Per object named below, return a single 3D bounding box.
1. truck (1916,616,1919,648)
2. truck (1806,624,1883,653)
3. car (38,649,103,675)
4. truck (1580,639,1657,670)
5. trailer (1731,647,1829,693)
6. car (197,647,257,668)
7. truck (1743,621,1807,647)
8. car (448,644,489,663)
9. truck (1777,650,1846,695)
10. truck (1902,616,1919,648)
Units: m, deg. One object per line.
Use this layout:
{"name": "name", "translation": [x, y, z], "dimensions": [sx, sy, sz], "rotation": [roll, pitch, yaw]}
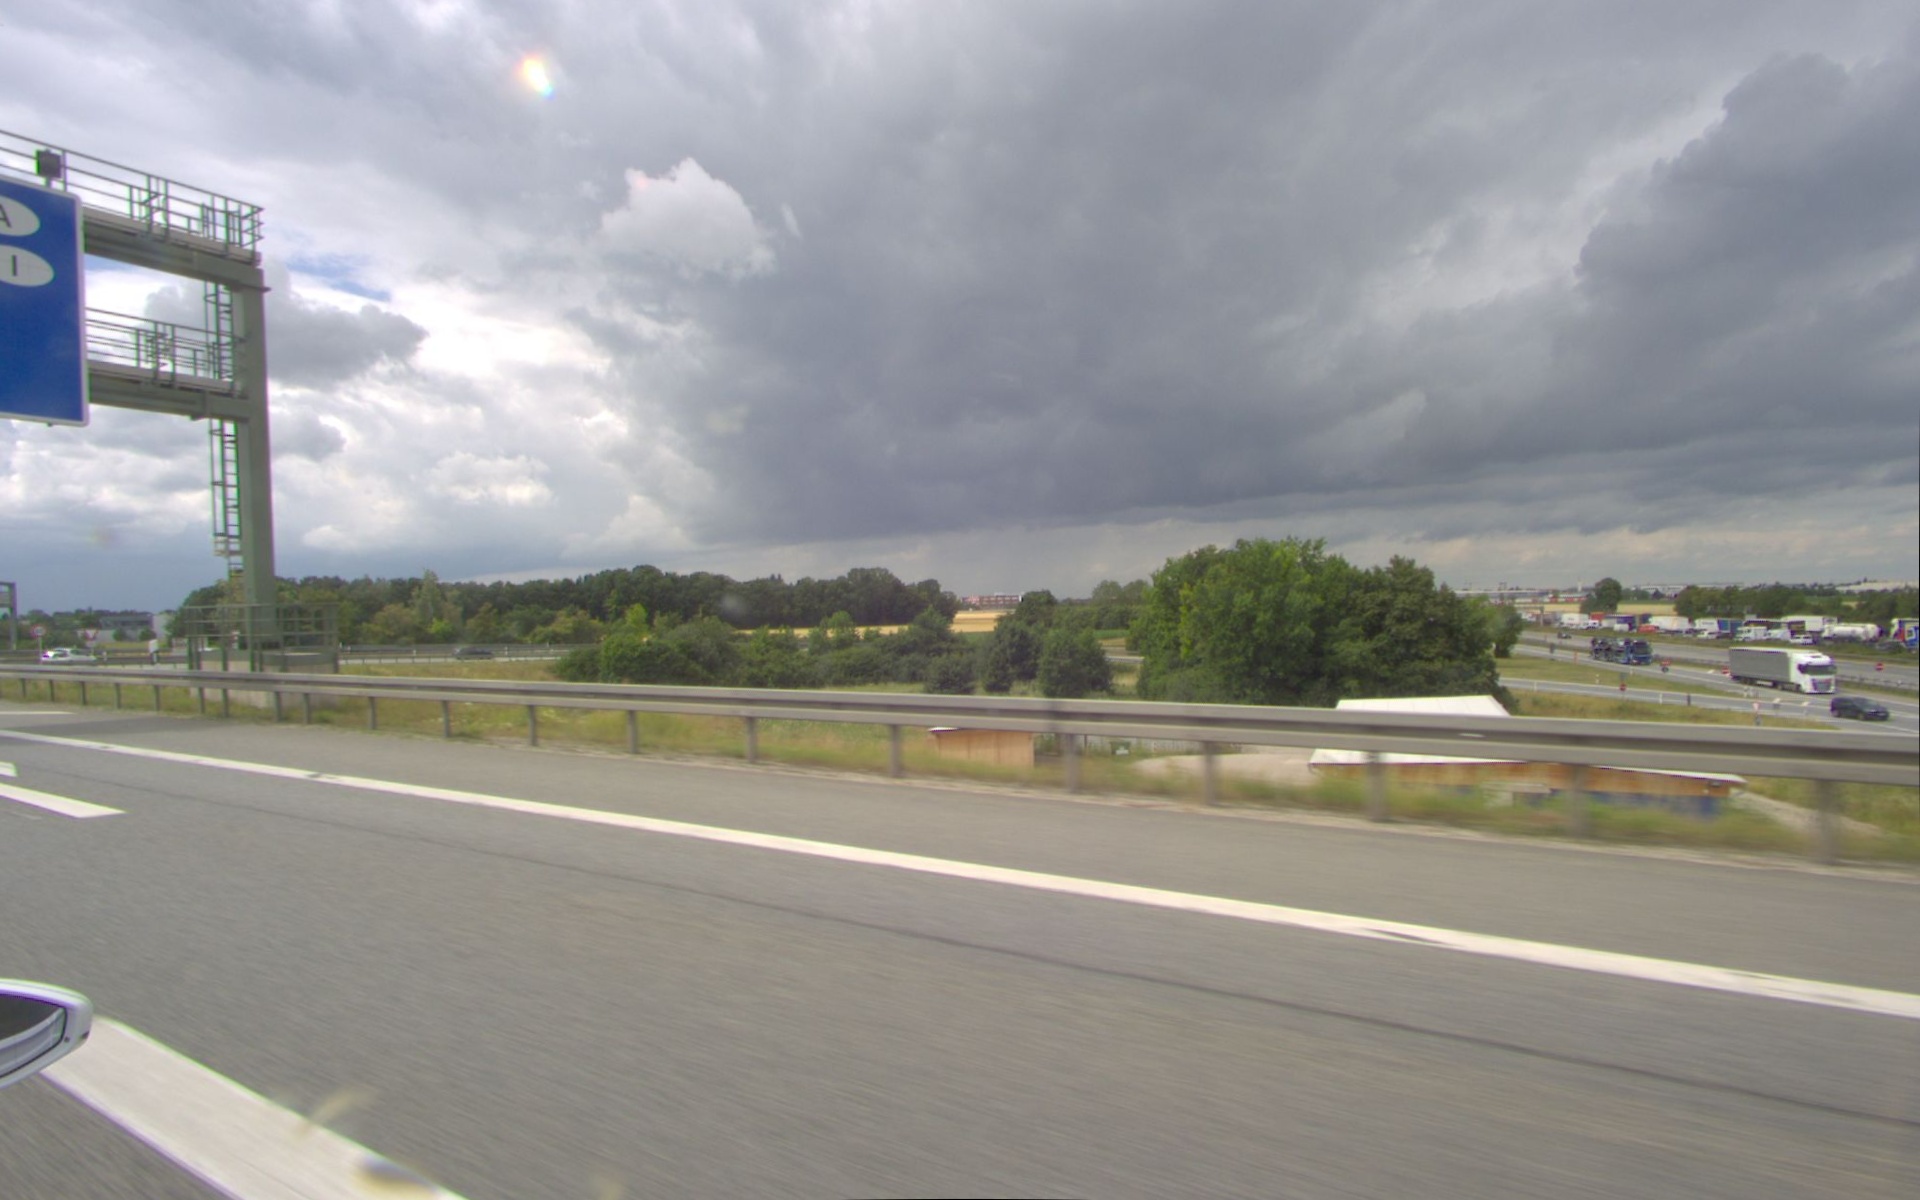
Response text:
{"name": "truck", "translation": [148.129, 4.835, 147.659], "dimensions": [4.011, 4.883, 14.474], "rotation": [0, -1, 15]}
{"name": "truck", "translation": [154.665, 6.668, 175.442], "dimensions": [4.011, 4.883, 15.338], "rotation": [0, -1, 16]}
{"name": "car", "translation": [-65.232, 4.556, 73.520], "dimensions": [1.964, 1.731, 3.995], "rotation": [1, -1, -14]}
{"name": "truck", "translation": [99.967, 8.096, 152.602], "dimensions": [3.921, 4.112, 19.029], "rotation": [-1, -1, 15]}
{"name": "trailer", "translation": [87.612, 7.385, 107.429], "dimensions": [2.936, 4.153, 14.229], "rotation": [0, -1, 17]}
{"name": "car", "translation": [-64.895, 5.070, 88.717], "dimensions": [1.962, 1.731, 3.998], "rotation": [0, -1, 12]}
{"name": "truck", "translation": [161.036, 6.579, 198.120], "dimensions": [4.011, 4.883, 15.338], "rotation": [0, -1, 16]}
{"name": "car", "translation": [-56.851, 6.160, 115.891], "dimensions": [1.754, 2.038, 3.991], "rotation": [0, -4, 26]}
{"name": "truck", "translation": [85.595, 7.180, 100.843], "dimensions": [2.936, 4.153, 6.520], "rotation": [0, -1, 17]}
{"name": "truck", "translation": [149.949, 4.941, 154.611], "dimensions": [3.997, 4.800, 6.492], "rotation": [0, 0, 15]}
